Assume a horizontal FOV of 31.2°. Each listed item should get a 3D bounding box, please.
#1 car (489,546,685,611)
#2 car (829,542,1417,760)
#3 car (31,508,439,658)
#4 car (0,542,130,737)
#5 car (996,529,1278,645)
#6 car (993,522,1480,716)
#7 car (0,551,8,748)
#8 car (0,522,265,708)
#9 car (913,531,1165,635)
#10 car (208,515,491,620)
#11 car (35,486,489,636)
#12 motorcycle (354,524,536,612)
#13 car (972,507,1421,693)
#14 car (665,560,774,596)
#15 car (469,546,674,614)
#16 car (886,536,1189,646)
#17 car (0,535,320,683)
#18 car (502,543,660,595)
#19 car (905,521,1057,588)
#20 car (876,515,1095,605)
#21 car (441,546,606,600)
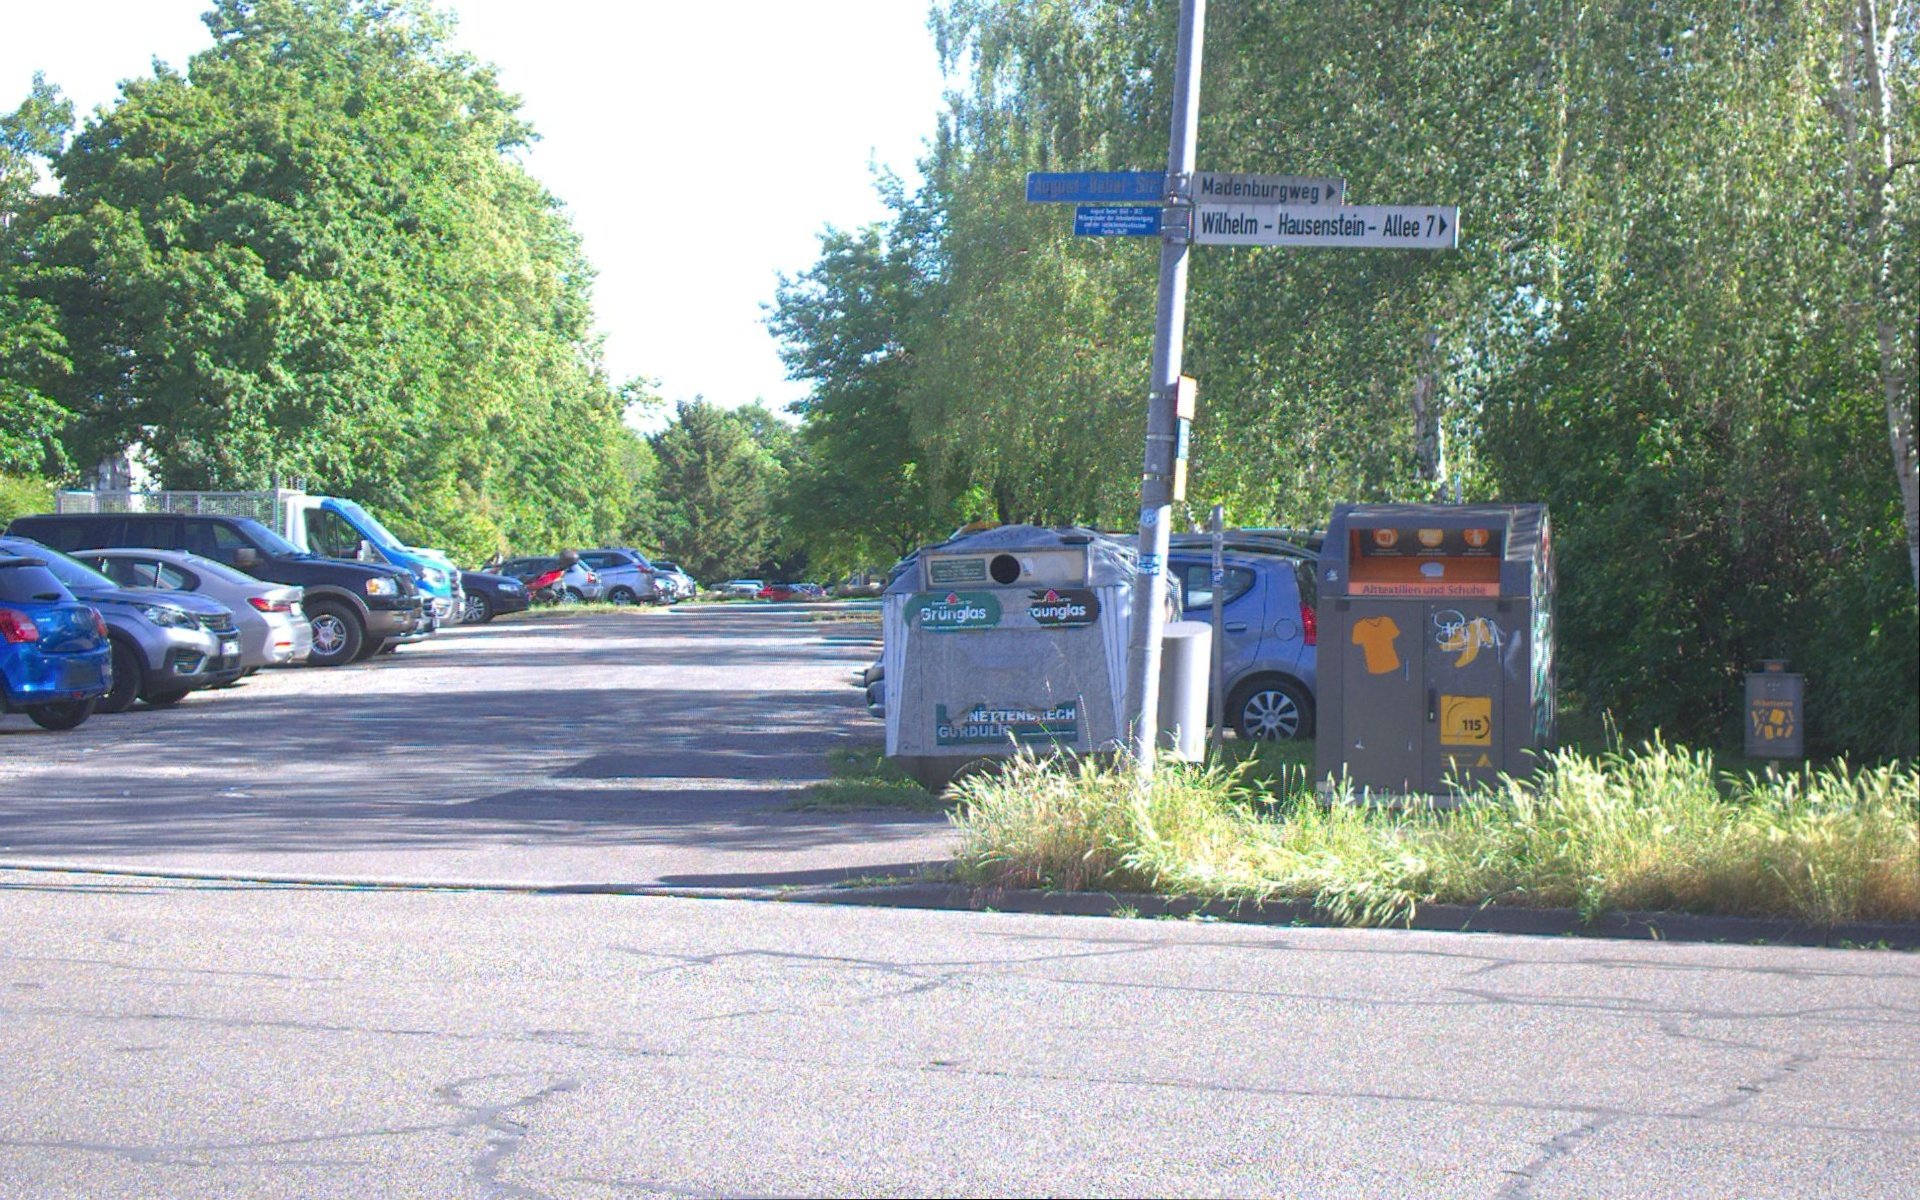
[{"bbox_3d":[-7.776,-0.460,71.909,3.939,1.329,1.847,0,1,-1],"label":"car"},{"bbox_3d":[1.225,0.340,25.190,4.055,1.434,1.634,1,1,13],"label":"car"},{"bbox_3d":[-8.771,-0.219,41.807,4.523,1.765,1.847,0,1,5],"label":"car"},{"bbox_3d":[-8.784,0.303,27.773,3.682,1.491,1.650,0,1,13],"label":"car"},{"bbox_3d":[2.554,-0.189,49.744,3.987,1.580,1.797,1,0,3],"label":"car"},{"bbox_3d":[2.424,0.150,30.750,4.052,1.597,1.791,1,2,-6],"label":"car"},{"bbox_3d":[-9.010,0.363,25.258,3.525,1.461,1.702,1,2,16],"label":"car"},{"bbox_3d":[-9.130,0.134,31.764,4.993,1.649,1.784,-1,1,5],"label":"car"},{"bbox_3d":[1.303,-0.278,55.633,3.987,1.580,1.797,1,0,3],"label":"car"},{"bbox_3d":[-10.431,-0.568,58.956,4.522,1.765,1.847,0,1,1],"label":"car"},{"bbox_3d":[-10.197,-0.578,50.654,6.255,2.139,2.411,0,1,-2],"label":"car"},{"bbox_3d":[-9.451,-0.591,63.138,3.191,1.590,0.923,0,1,1],"label":"motorcycle"},{"bbox_3d":[2.272,-0.018,33.730,4.103,1.700,1.791,1,2,-7],"label":"car"},{"bbox_3d":[-8.280,-0.761,118.664,3.644,1.208,1.847,0,1,-1],"label":"car"},{"bbox_3d":[-7.781,-0.410,69.104,3.939,1.329,1.847,0,1,-1],"label":"car"},{"bbox_3d":[1.062,-0.127,46.346,3.987,1.396,1.797,1,0,3],"label":"car"},{"bbox_3d":[-8.862,0.091,35.744,4.143,1.450,1.619,-1,1,-3],"label":"car"},{"bbox_3d":[-9.848,-0.803,89.566,3.939,1.329,1.847,0,1,-1],"label":"car"},{"bbox_3d":[0.579,-1.221,92.604,3.987,1.702,1.797,1,0,3],"label":"car"},{"bbox_3d":[0.506,-0.739,64.046,3.987,1.580,1.797,1,0,3],"label":"car"},{"bbox_3d":[-10.938,-0.675,86.338,3.939,1.329,1.847,0,1,-1],"label":"car"}]
